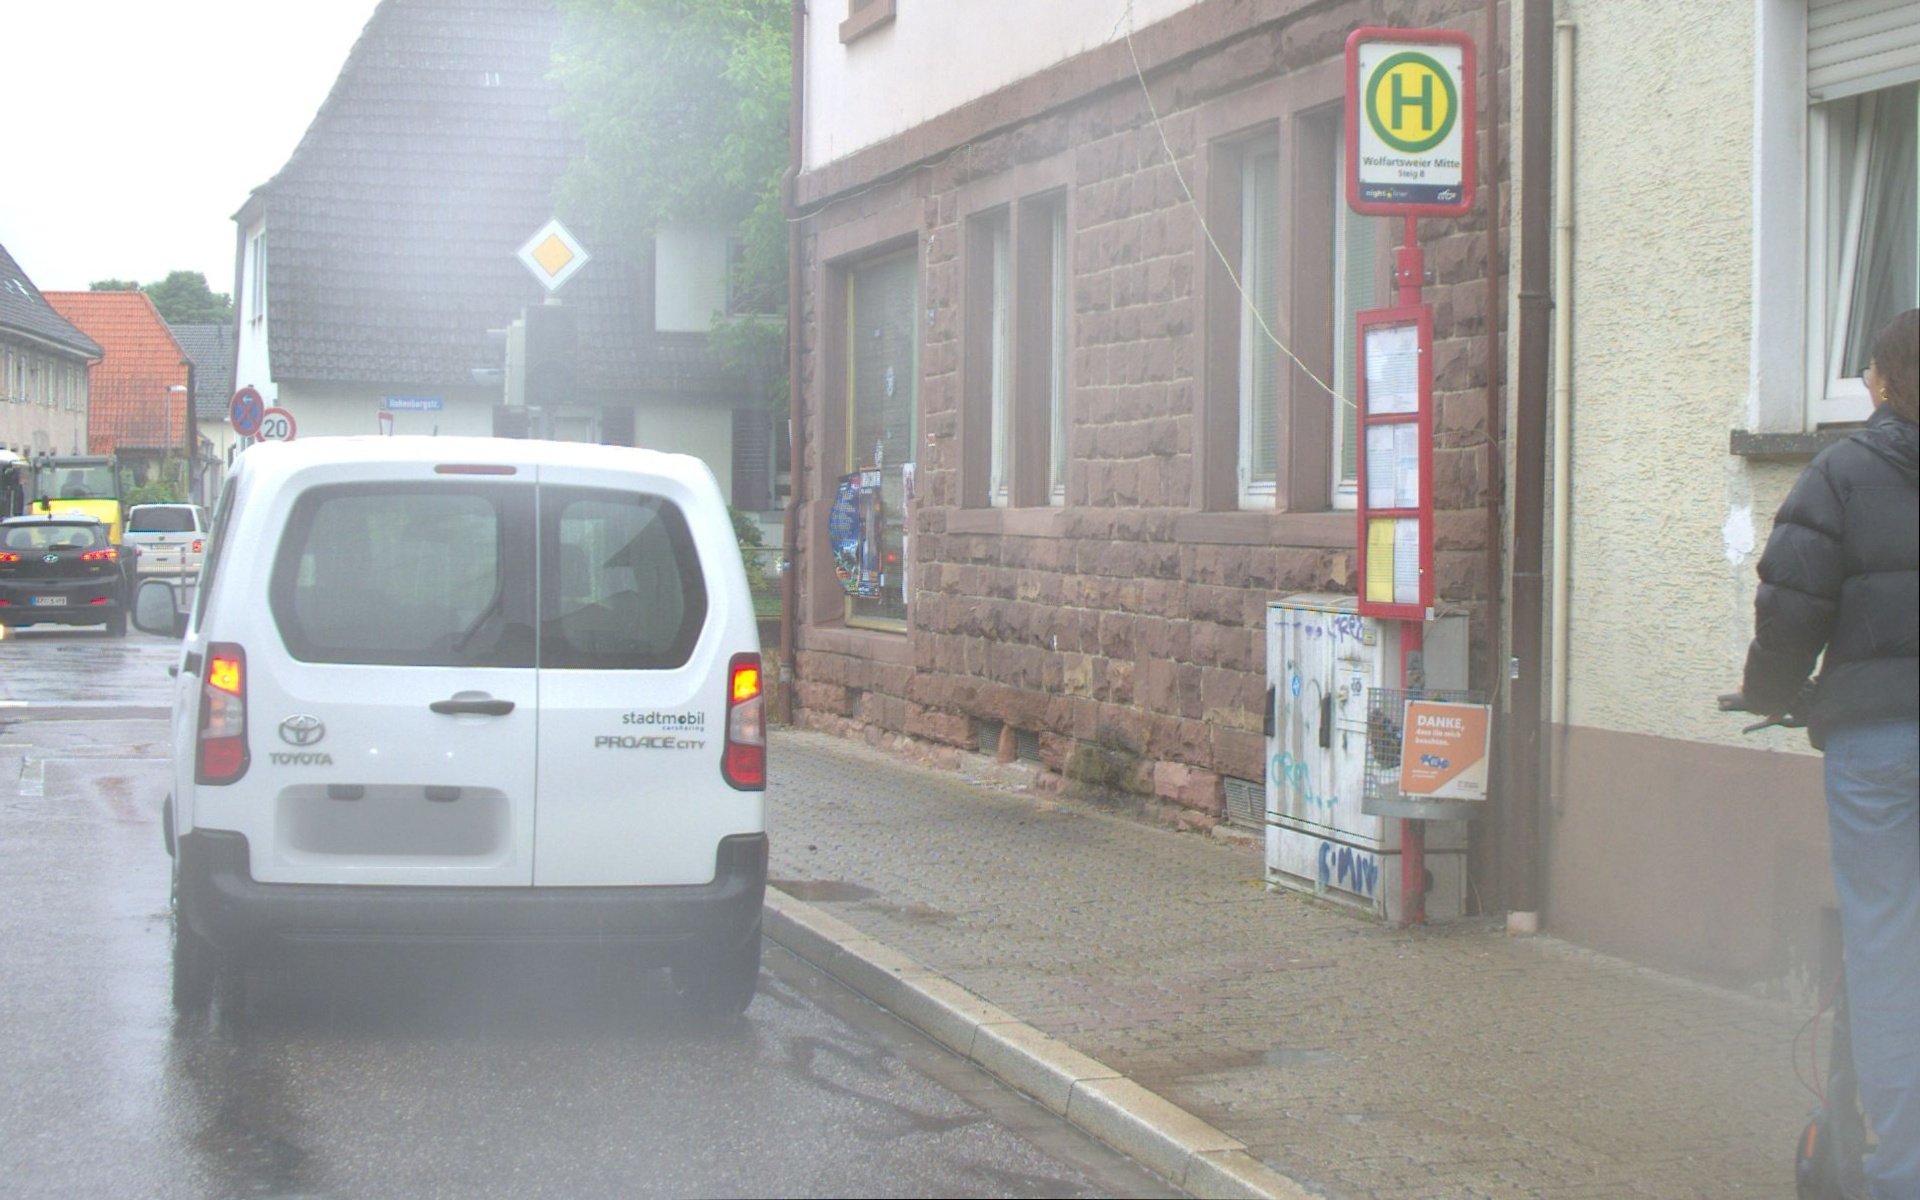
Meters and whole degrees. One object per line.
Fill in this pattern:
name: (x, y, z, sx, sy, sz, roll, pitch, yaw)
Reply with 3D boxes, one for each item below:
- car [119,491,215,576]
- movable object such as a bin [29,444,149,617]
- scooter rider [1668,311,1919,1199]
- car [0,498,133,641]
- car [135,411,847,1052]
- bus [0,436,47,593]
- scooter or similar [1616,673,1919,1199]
car: (-18.854, -1.580, 81.851, 1.895, 1.941, 4.001, -1, 1, -9)
movable object such as a bin: (-14.034, -1.132, 55.553, 1.726, 2.644, 3.975, 2, 1, -13)
scooter rider: (1.822, 0.338, 6.595, 0.730, 1.727, 0.518, 1, 0, -15)
car: (-10.893, -0.397, 41.195, 1.809, 1.591, 3.757, 2, 1, -14)
car: (-1.758, 0.344, 11.655, 1.893, 1.787, 3.815, 2, 1, -15)
bus: (-20.955, -1.958, 72.452, 2.649, 2.989, 12.197, 1, 3, -12)
scooter or similar: (1.843, 0.742, 6.495, 0.620, 1.123, 1.402, 1, 2, -15)
